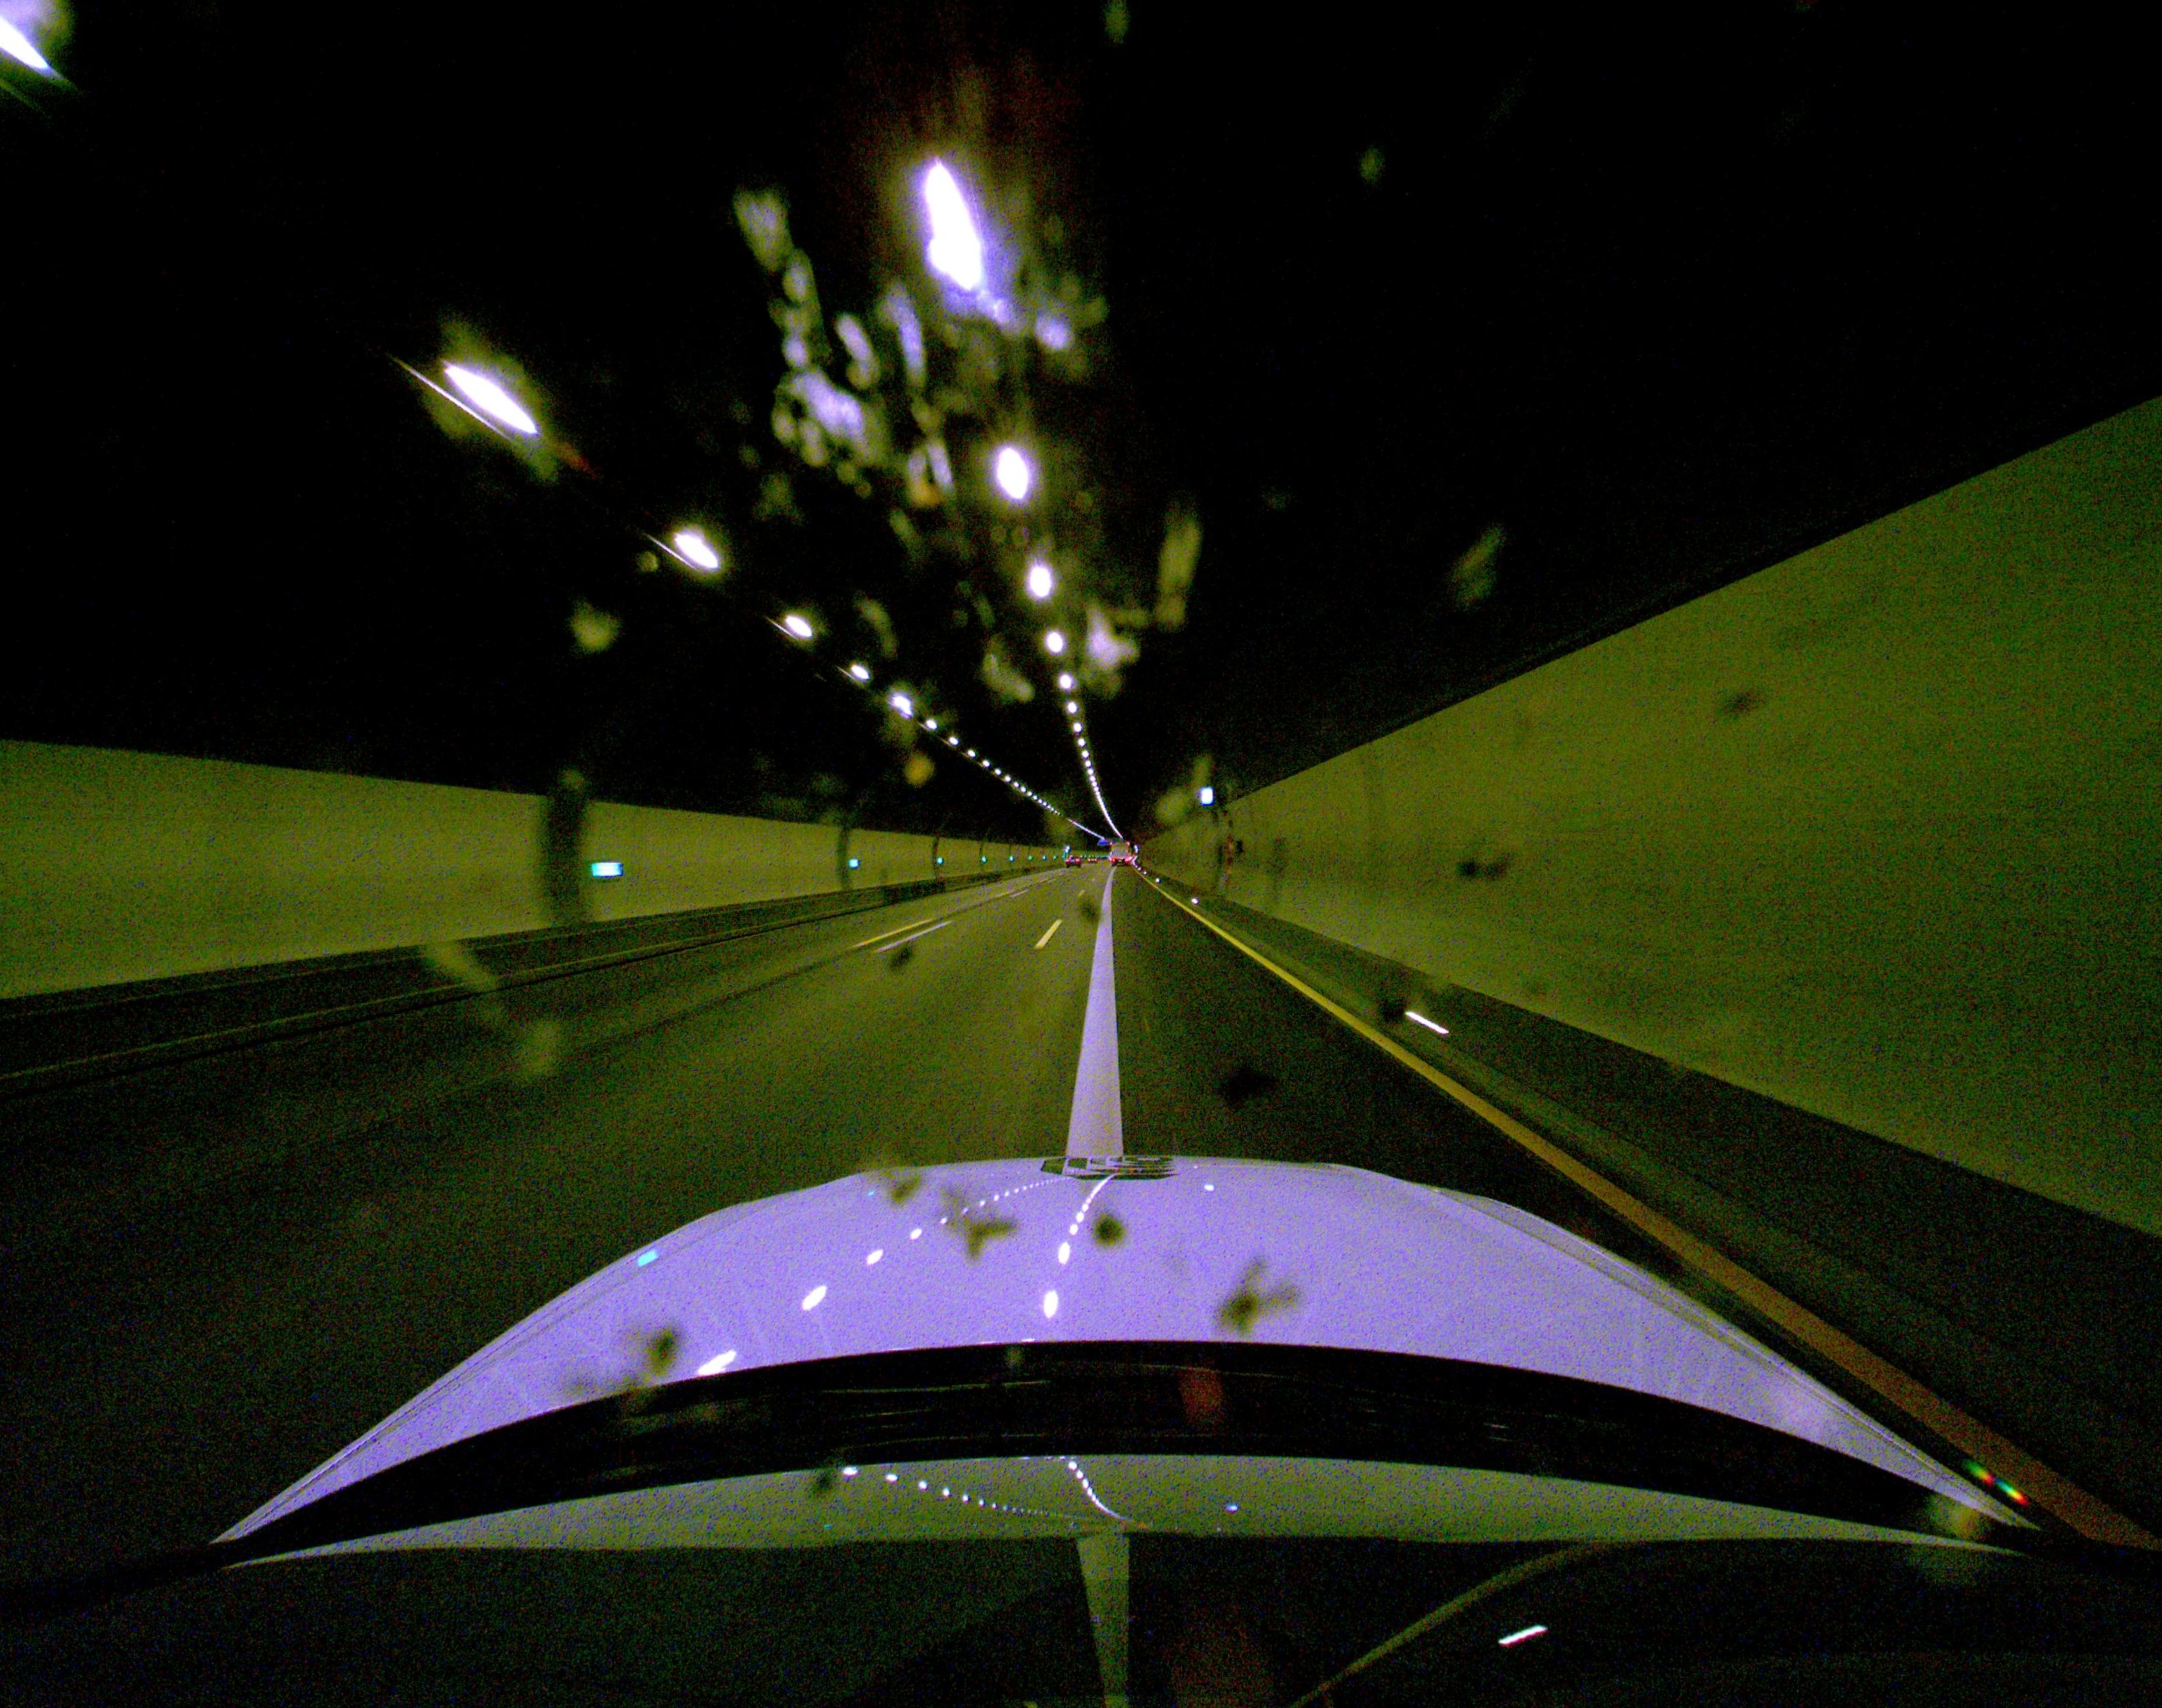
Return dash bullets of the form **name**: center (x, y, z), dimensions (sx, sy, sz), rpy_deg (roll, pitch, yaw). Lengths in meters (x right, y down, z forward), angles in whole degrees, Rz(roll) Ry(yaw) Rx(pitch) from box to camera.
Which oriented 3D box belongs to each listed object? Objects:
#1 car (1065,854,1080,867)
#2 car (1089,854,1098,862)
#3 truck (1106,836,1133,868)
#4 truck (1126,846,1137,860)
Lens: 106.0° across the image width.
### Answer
- **car**: center (-1.068, 0.901, 108.289), dimensions (1.806, 1.618, 4.001), rpy_deg (-1, 0, 1)
- **car**: center (2.546, 0.850, 163.396), dimensions (1.807, 1.520, 4.000), rpy_deg (-1, 1, 0)
- **truck**: center (5.948, -0.294, 127.929), dimensions (3.268, 4.650, 17.285), rpy_deg (-3, 0, 0)
- **truck**: center (15.260, -0.160, 248.745), dimensions (2.911, 4.048, 14.037), rpy_deg (-3, 0, 2)
